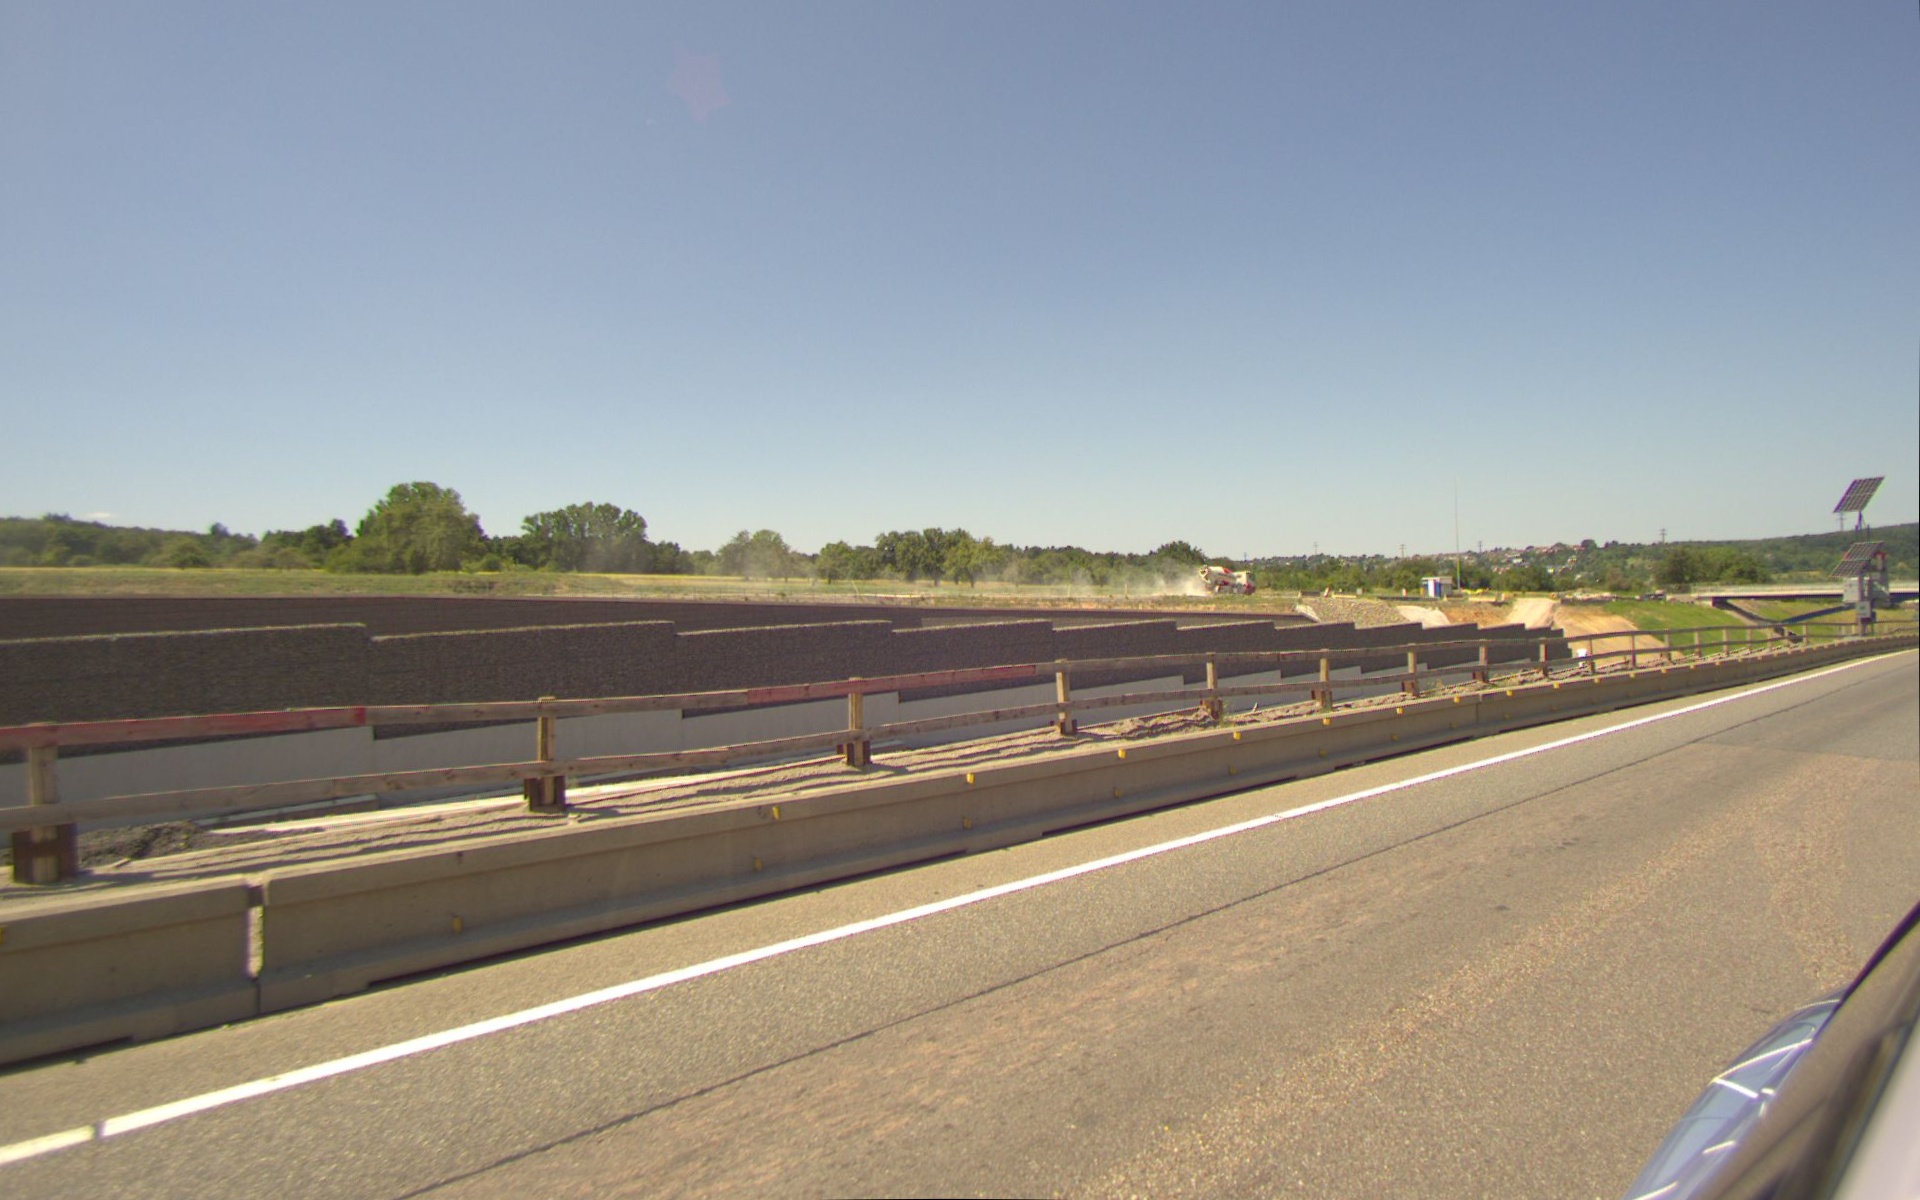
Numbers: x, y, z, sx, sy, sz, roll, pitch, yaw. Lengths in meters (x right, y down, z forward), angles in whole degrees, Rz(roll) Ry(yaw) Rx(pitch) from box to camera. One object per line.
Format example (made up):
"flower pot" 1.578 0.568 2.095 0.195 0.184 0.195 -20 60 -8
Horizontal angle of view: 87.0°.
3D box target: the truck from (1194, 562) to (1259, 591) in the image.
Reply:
"truck" 33.355 -2.900 126.693 8.592 3.510 3.156 0 -1 -36
